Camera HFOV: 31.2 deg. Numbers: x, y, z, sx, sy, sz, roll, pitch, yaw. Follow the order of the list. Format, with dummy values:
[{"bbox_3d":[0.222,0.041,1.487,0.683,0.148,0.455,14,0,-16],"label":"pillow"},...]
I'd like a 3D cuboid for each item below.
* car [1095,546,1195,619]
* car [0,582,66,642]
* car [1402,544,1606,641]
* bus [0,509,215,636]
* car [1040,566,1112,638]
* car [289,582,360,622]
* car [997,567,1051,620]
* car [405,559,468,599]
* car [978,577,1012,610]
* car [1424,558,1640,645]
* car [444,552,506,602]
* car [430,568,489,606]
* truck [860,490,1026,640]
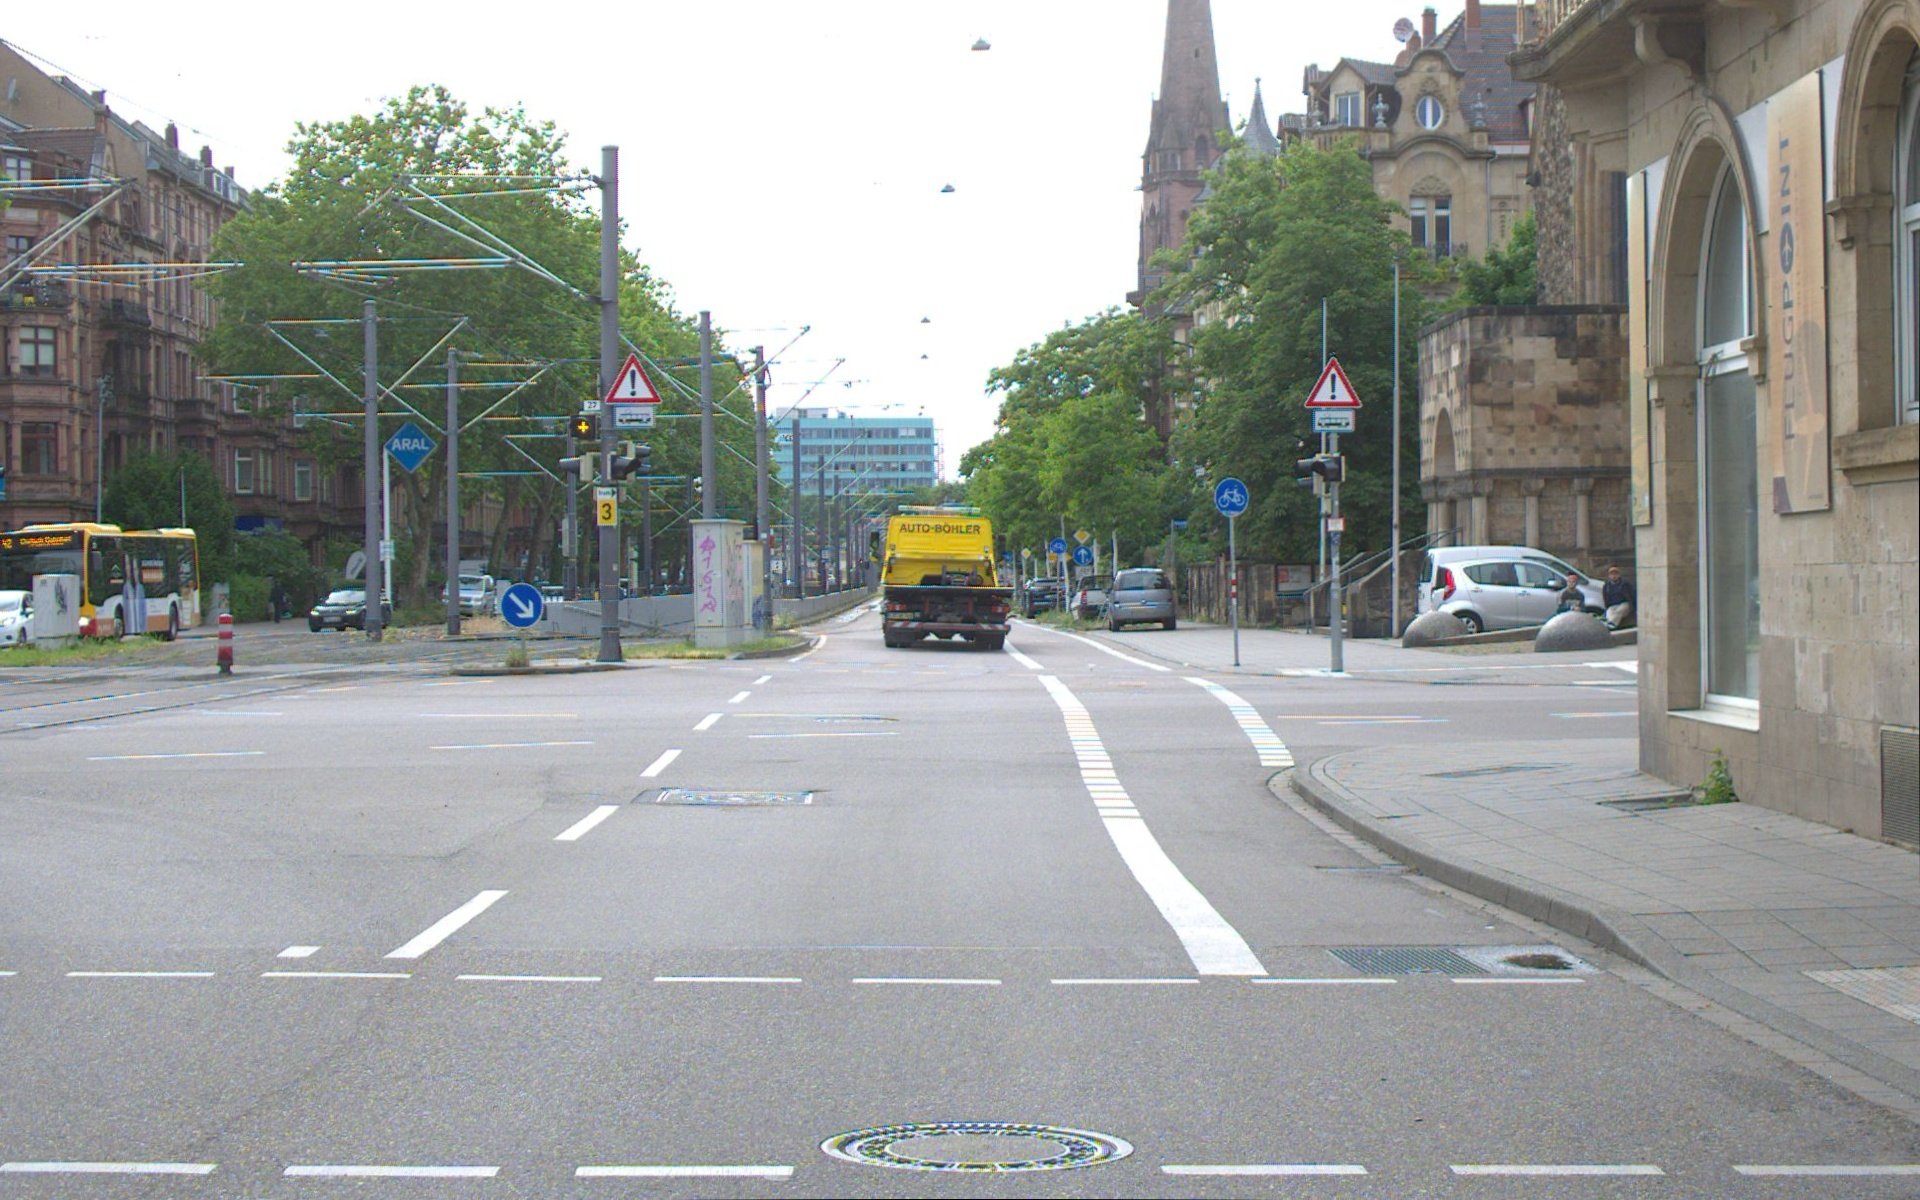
[{"bbox_3d":[4.869,-0.470,89.991,1.994,1.849,4.024,1,1,12],"label":"car"},{"bbox_3d":[-21.908,0.258,79.050,1.656,1.316,3.638,1,1,1],"label":"car"},{"bbox_3d":[10.795,-0.158,68.411,3.713,1.849,2.000,1,0,0],"label":"car"},{"bbox_3d":[-22.469,-0.735,89.429,3.231,3.025,12.311,1,1,1],"label":"bus"},{"bbox_3d":[3.344,0.035,99.633,1.993,2.007,4.000,1,1,1],"label":"car"},{"bbox_3d":[-21.673,0.060,117.360,1.656,1.316,3.638,1,1,1],"label":"car"},{"bbox_3d":[2.535,-0.275,136.143,1.993,2.007,4.000,1,1,-1],"label":"car"},{"bbox_3d":[-21.539,-0.879,141.525,1.993,1.605,4.000,1,1,-1],"label":"car"},{"bbox_3d":[2.189,-0.399,216.843,1.993,2.007,4.000,1,1,-1],"label":"car"},{"bbox_3d":[10.767,0.020,64.903,3.713,1.558,2.000,1,0,0],"label":"car"},{"bbox_3d":[-19.937,-0.953,141.416,1.993,2.007,4.000,1,0,-1],"label":"car"},{"bbox_3d":[-21.742,-0.575,149.379,1.993,1.605,4.000,1,1,-1],"label":"car"},{"bbox_3d":[-0.450,-0.711,68.703,3.055,2.760,9.816,0,1,-2],"label":"truck"}]
